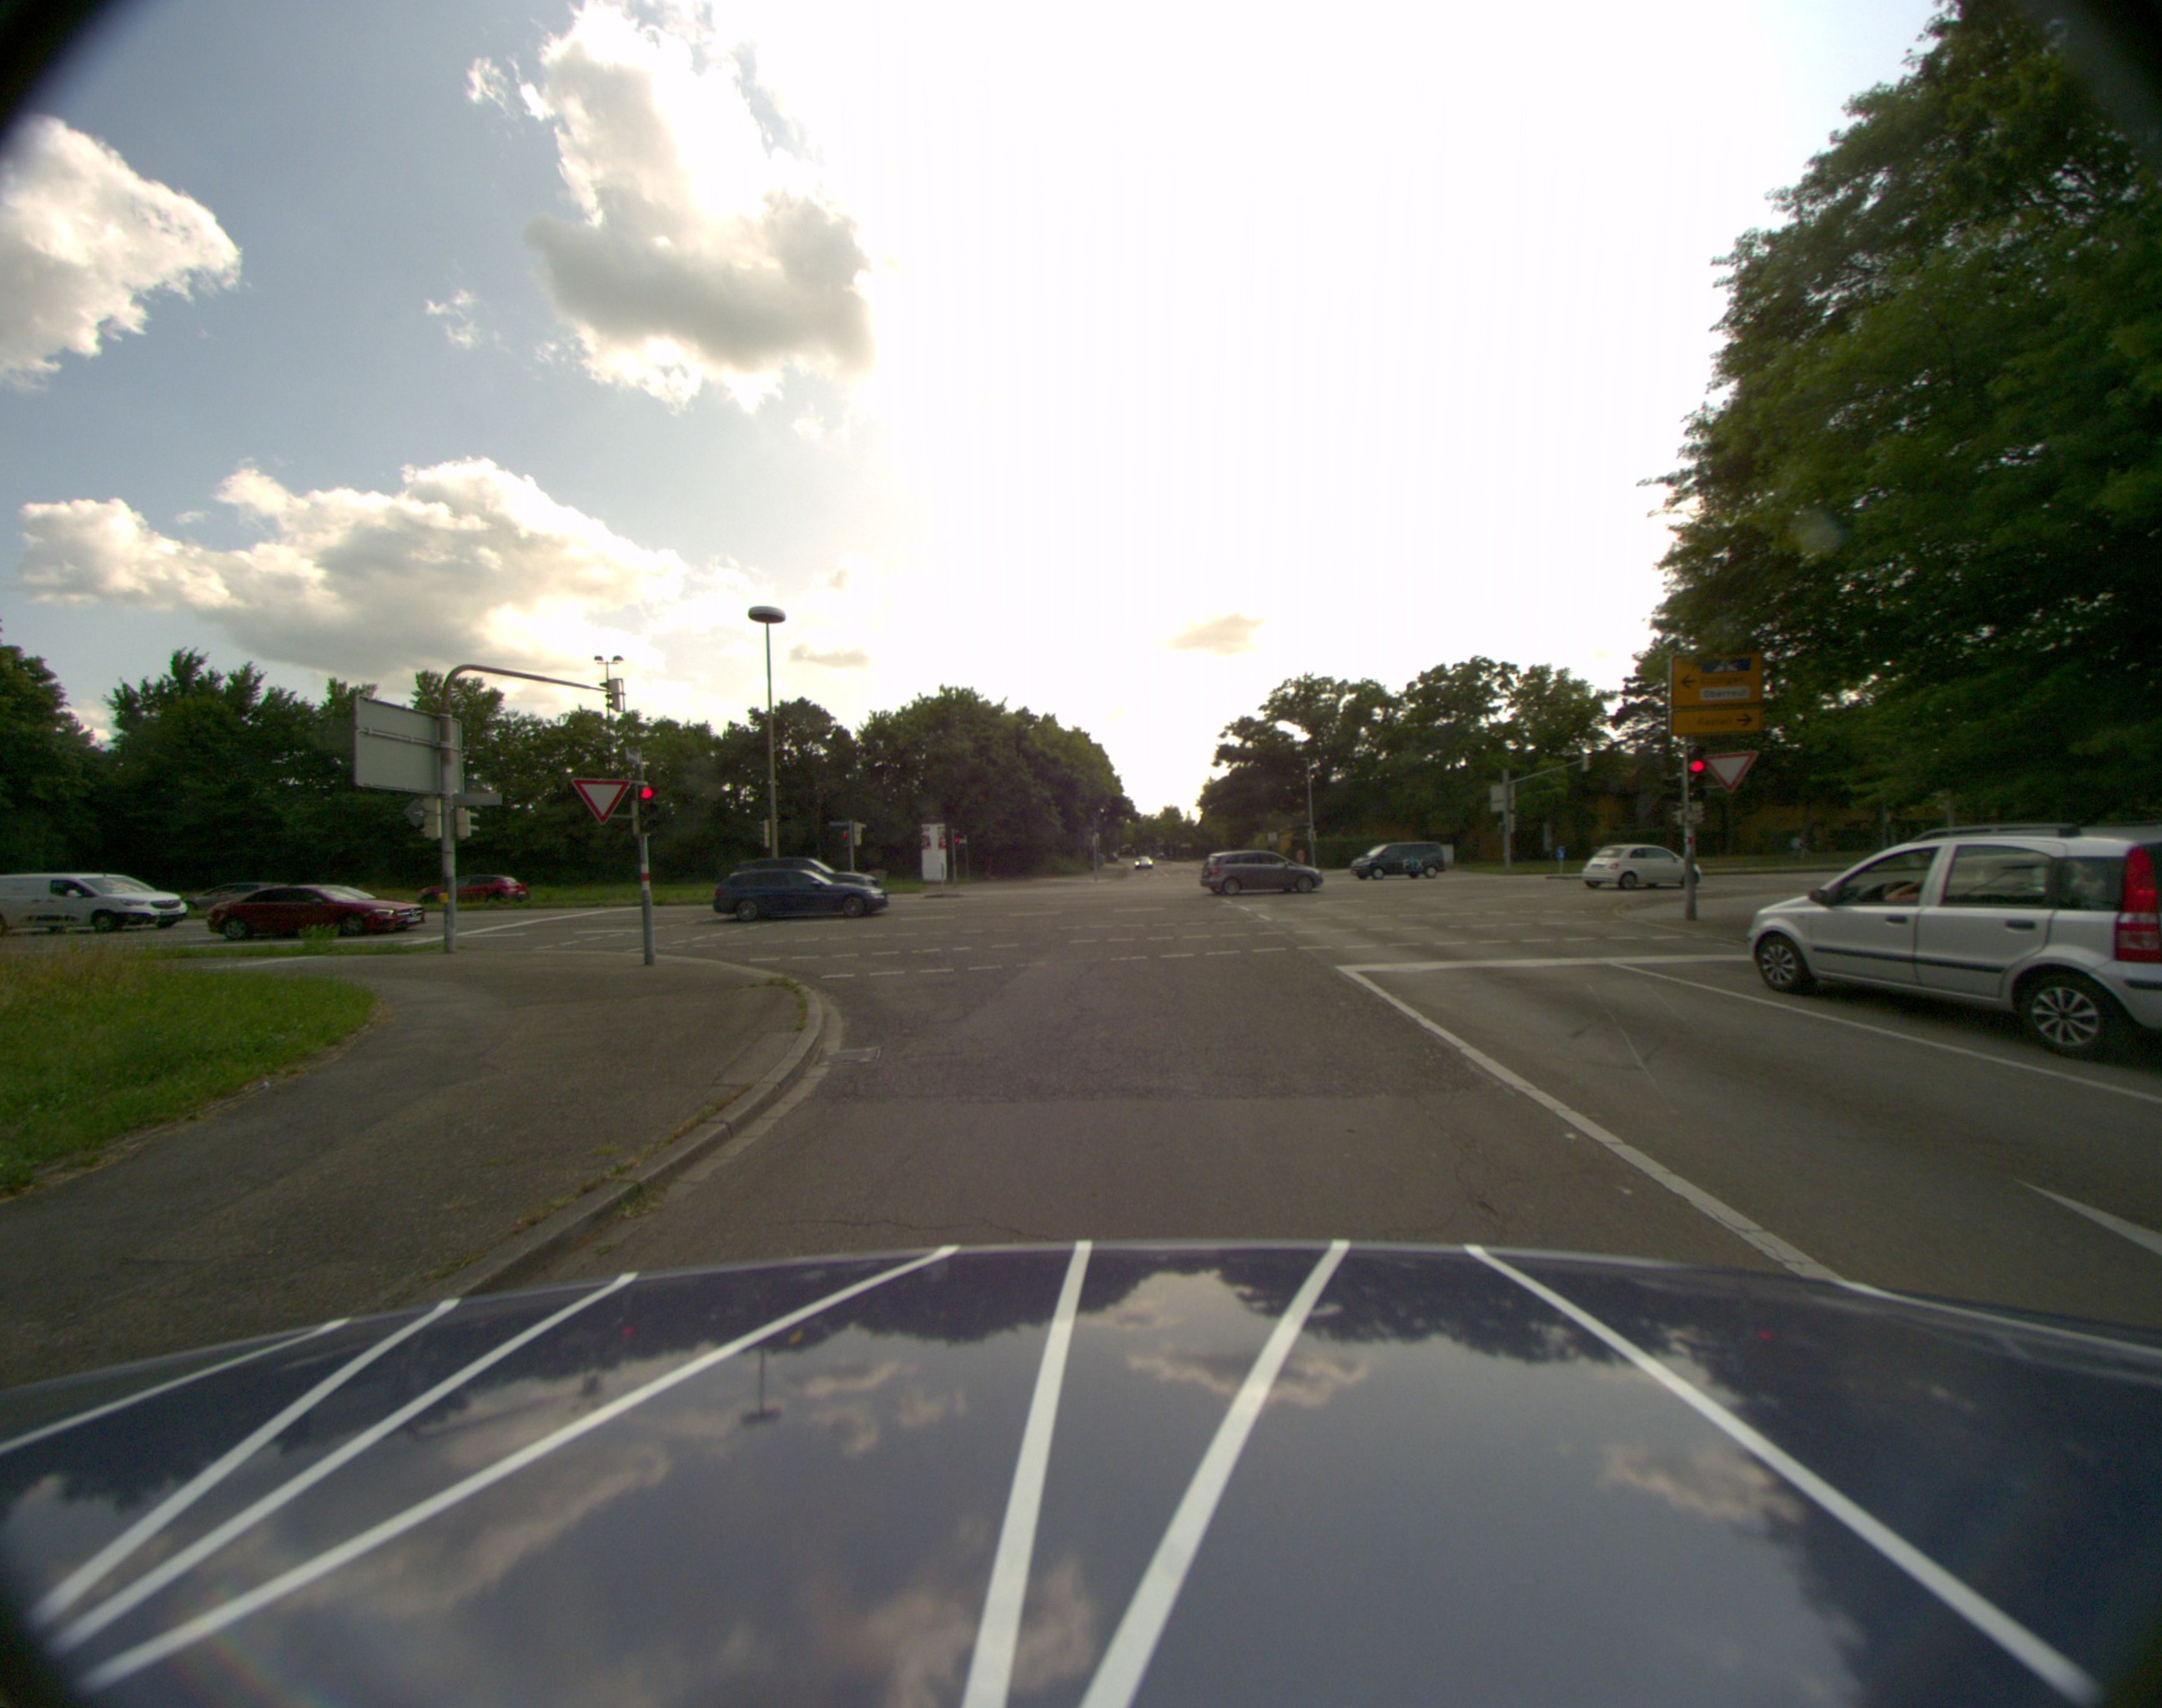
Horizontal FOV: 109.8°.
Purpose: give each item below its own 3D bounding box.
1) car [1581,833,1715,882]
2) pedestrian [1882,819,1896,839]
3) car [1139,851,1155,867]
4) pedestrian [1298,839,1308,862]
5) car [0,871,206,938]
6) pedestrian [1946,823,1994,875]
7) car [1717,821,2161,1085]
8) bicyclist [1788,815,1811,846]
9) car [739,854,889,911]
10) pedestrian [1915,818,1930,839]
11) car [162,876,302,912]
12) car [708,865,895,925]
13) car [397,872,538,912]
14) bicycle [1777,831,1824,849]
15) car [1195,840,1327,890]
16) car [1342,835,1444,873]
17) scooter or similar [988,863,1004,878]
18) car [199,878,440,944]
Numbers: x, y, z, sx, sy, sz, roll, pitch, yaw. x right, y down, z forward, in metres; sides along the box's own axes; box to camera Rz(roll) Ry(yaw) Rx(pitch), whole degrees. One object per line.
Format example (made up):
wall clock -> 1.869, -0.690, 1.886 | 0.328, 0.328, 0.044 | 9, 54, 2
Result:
car -> 19.294, 0.111, 25.918 | 3.539, 1.488, 1.574 | -2, 1, -6
pedestrian -> 60.826, -1.871, 57.231 | 0.421, 1.487, 0.570 | -2, 3, -22
car -> 7.018, 0.508, 81.111 | 1.729, 1.421, 3.999 | -1, 2, 4
pedestrian -> 17.331, -0.296, 59.315 | 0.691, 1.732, 0.705 | -2, 1, 10
car -> -30.775, 1.536, 23.575 | 4.730, 1.788, 1.769 | -1, 2, -7
pedestrian -> 26.787, -0.160, 22.886 | 0.760, 1.523, 0.726 | -2, 1, -22
car -> 7.215, 0.531, 6.050 | 1.557, 1.508, 3.610 | -2, 1, 7
bicyclist -> 47.314, -1.523, 50.023 | 0.754, 2.002, 0.830 | -2, 1, -18
car -> -9.140, 0.955, 26.359 | 4.549, 1.736, 1.817 | -1, 2, -7
pedestrian -> 60.632, -1.827, 54.773 | 0.421, 1.487, 0.570 | -2, 3, -22
car -> -38.469, 1.797, 34.525 | 4.081, 1.364, 1.598 | -2, 0, -9
car -> -8.170, 1.169, 22.600 | 4.872, 1.489, 1.800 | -1, 3, -7
car -> -26.761, 1.642, 33.270 | 4.456, 1.456, 1.776 | -2, 1, -9
bicycle -> 47.340, -0.924, 50.011 | 0.758, 1.112, 2.111 | -2, 0, -18
car -> 6.507, 0.364, 27.707 | 4.359, 1.610, 1.703 | -2, 2, -7
car -> 16.760, -0.008, 40.920 | 4.815, 1.846, 1.770 | -2, 1, -7
scooter or similar -> -5.782, 1.113, 51.461 | 1.035, 0.937, 0.297 | -1, 3, 0
car -> -20.895, 1.537, 21.034 | 4.534, 1.454, 1.727 | -2, 3, -7
